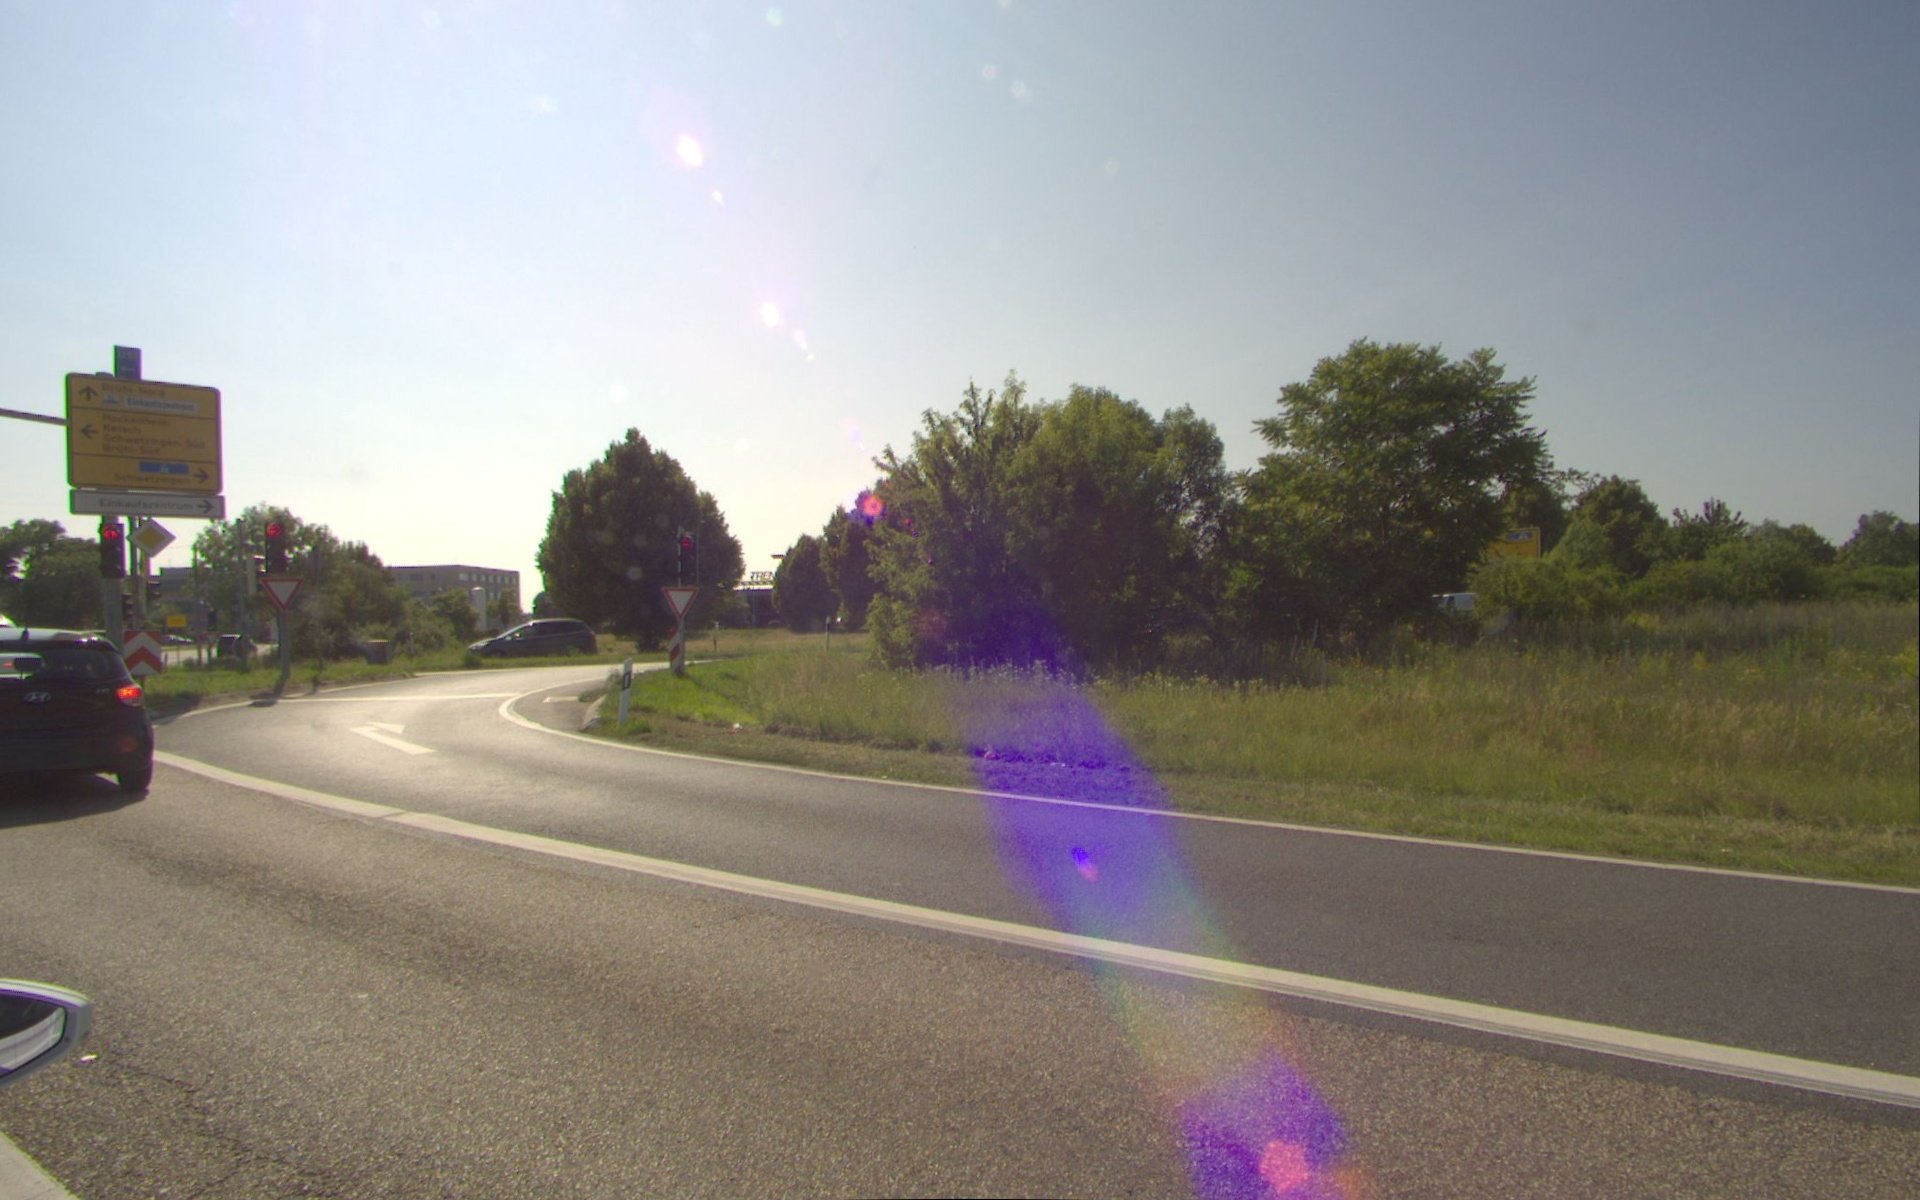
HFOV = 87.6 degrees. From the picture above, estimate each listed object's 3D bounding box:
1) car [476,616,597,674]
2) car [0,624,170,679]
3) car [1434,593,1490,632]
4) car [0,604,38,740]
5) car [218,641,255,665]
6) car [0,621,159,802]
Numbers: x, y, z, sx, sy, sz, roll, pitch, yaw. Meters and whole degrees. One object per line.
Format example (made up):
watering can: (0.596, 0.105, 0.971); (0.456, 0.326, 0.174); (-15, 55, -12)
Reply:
car: (-15.704, 1.633, 37.167); (3.963, 1.978, 1.687); (0, -1, -31)
car: (-27.307, 1.554, 31.206); (3.981, 1.539, 1.797); (0, -1, -32)
car: (33.139, 0.830, 66.059); (3.851, 2.467, 1.455); (1, -2, -30)
car: (-13.674, 0.925, 13.284); (3.705, 1.698, 1.626); (-2, -2, 39)
car: (-51.748, 3.753, 71.706); (1.857, 1.694, 3.750); (1, -3, -32)
car: (-8.906, 0.940, 9.328); (3.255, 1.466, 1.626); (-1, -2, 39)
